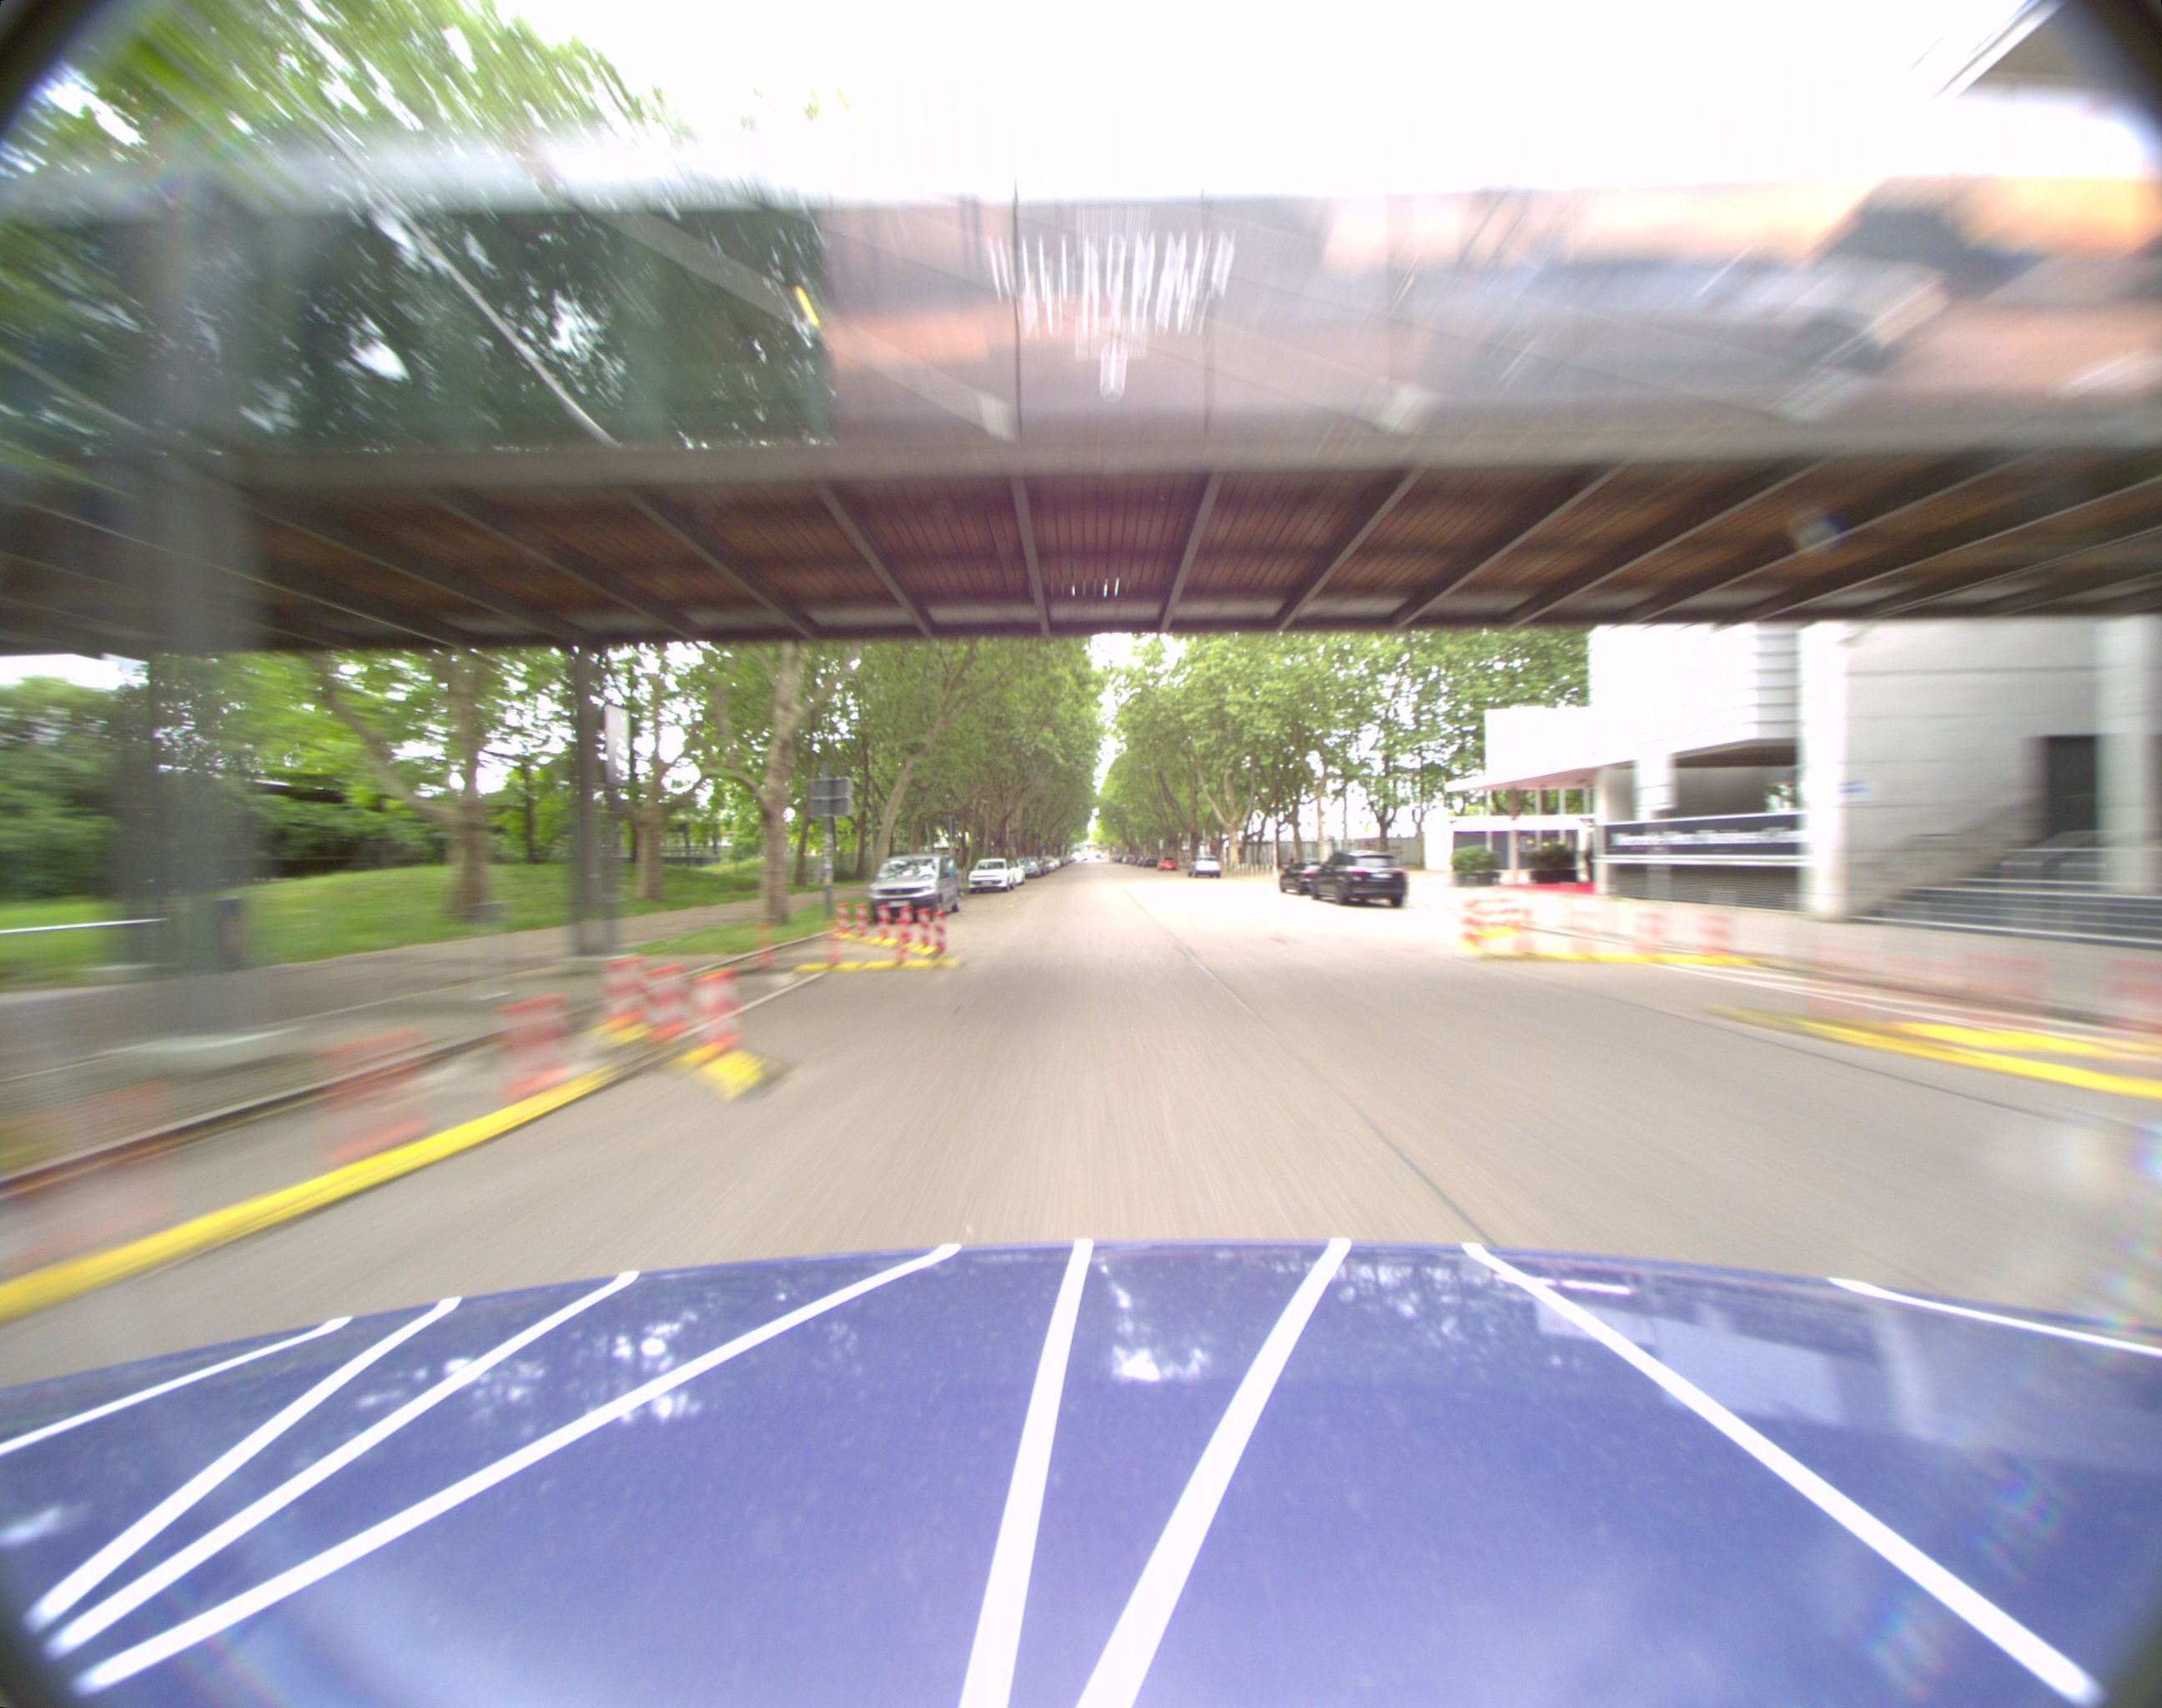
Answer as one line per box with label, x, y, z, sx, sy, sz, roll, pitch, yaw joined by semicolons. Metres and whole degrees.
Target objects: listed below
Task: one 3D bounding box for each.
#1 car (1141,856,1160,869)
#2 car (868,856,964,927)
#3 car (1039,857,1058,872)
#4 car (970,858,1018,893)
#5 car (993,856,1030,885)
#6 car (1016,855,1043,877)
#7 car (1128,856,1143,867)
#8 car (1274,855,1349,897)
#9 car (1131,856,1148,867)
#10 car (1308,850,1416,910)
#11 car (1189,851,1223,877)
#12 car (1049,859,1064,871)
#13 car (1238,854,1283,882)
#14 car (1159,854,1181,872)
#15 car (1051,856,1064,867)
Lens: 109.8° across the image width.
car;8.796;1.023;96.360;1.921;1.561;4.497;-1;1;-1
car;-4.494;0.953;21.343;1.757;1.687;4.497;-1;1;-1
car;-3.634;1.146;85.182;1.921;1.561;4.497;-1;1;-1
car;-4.235;1.004;37.610;1.921;1.561;4.497;-1;1;-1
car;-4.212;0.961;46.471;1.921;1.561;4.497;-1;1;-1
car;-4.020;0.928;60.256;1.921;1.561;4.497;-1;1;-1
car;8.853;1.185;123.913;1.921;1.561;4.497;-1;1;-1
car;9.324;0.851;31.065;1.781;1.461;4.144;2;1;0
car;8.291;1.054;107.878;1.921;1.561;4.497;-1;1;-1
car;9.115;0.763;25.066;1.929;1.721;4.233;2;1;0
car;8.823;0.659;53.876;1.757;1.652;3.999;-2;1;1
car;-3.268;1.448;101.372;1.921;1.561;4.497;-1;1;-1
car;10.309;0.765;43.816;1.662;1.461;3.802;2;1;0
car;9.103;0.908;78.102;1.757;1.652;3.999;-2;1;1
car;-3.513;1.199;116.391;1.921;1.561;4.497;-1;1;-1
